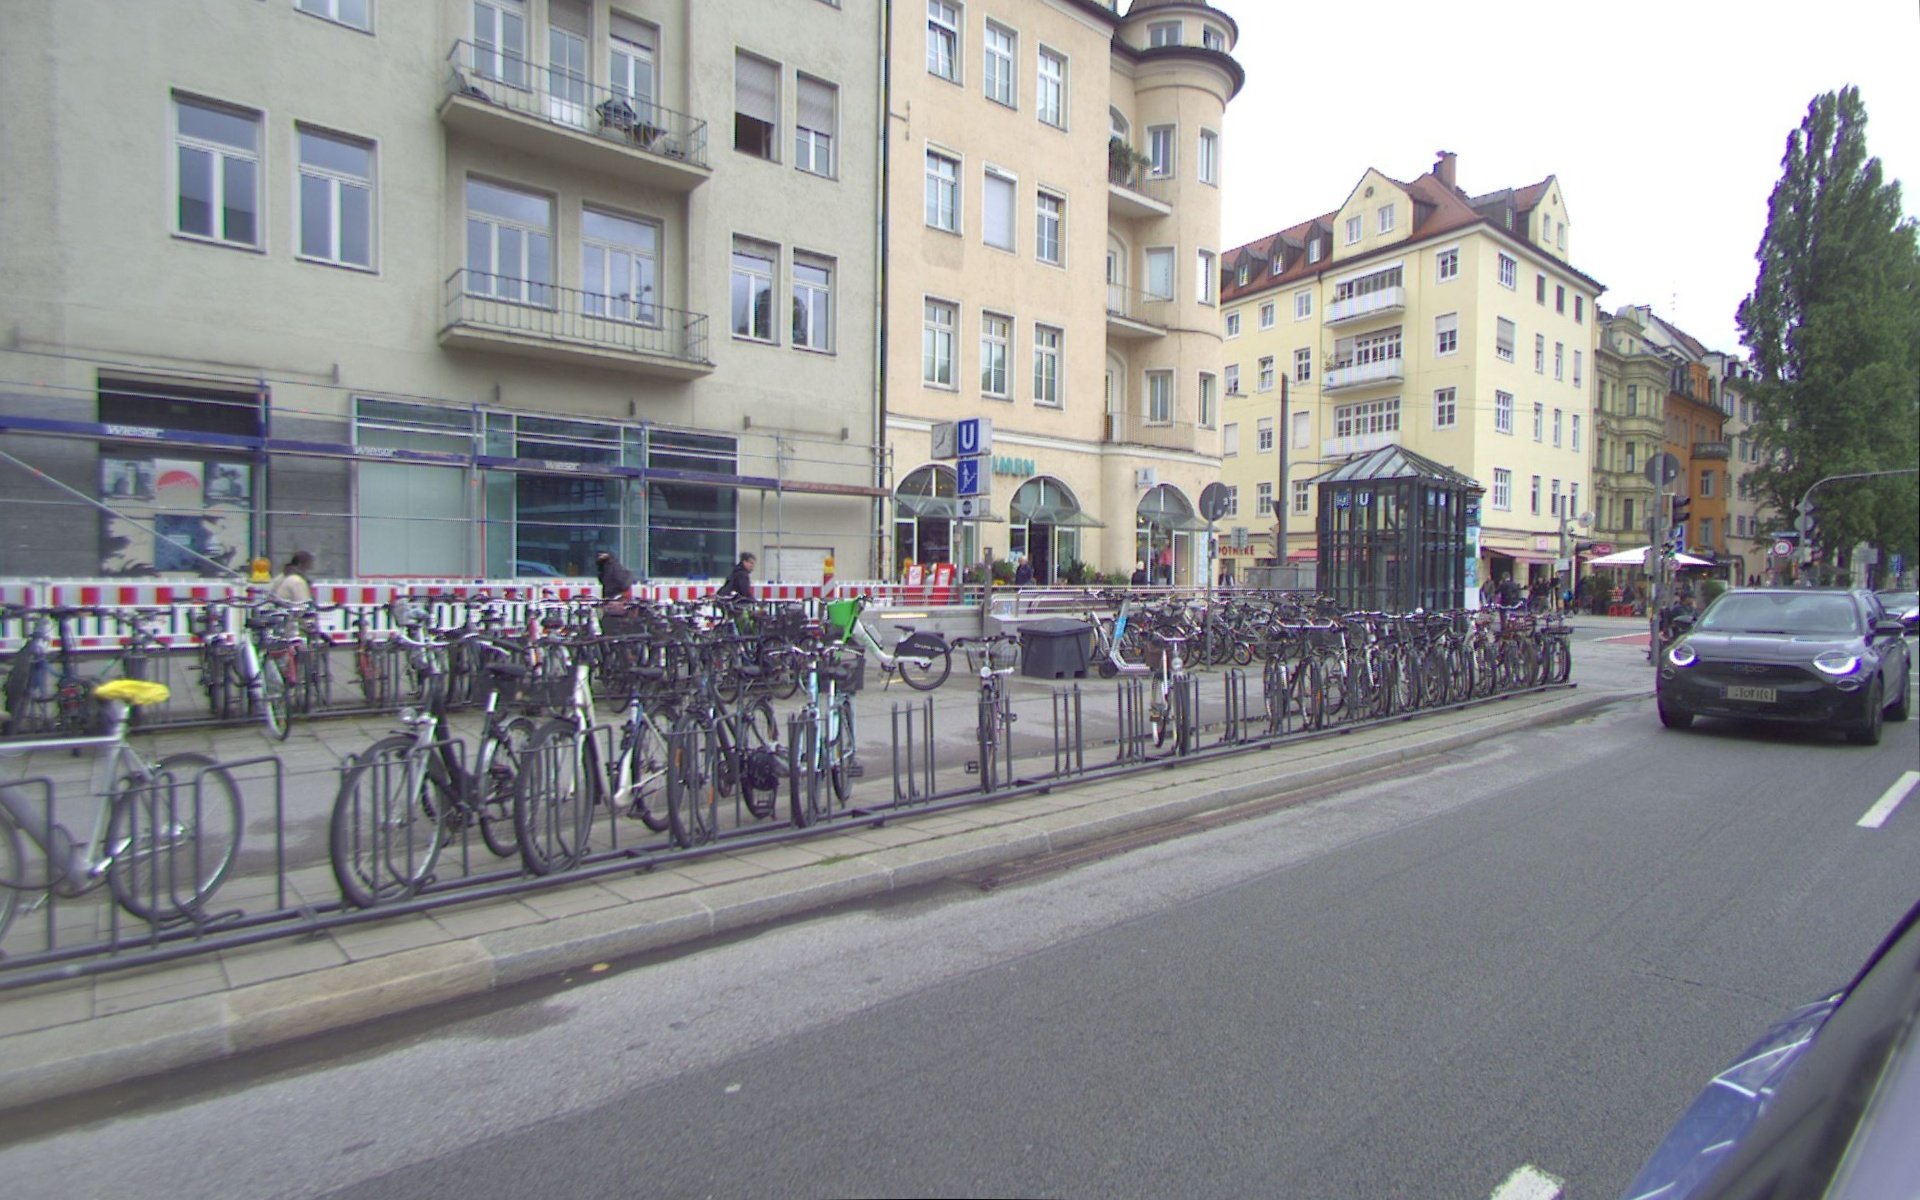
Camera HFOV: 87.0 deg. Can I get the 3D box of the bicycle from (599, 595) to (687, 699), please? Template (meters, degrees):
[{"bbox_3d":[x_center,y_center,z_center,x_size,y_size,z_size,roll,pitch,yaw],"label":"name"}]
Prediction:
[{"bbox_3d":[-3.764,0.518,11.949,0.403,1.091,1.529,-1,3,-41],"label":"bicycle"}]

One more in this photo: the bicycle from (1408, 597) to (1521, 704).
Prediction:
[{"bbox_3d":[5.909,0.557,11.952,0.469,1.151,1.679,0,1,-1],"label":"bicycle"}]

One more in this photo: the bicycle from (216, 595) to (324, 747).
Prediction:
[{"bbox_3d":[-5.722,0.541,8.371,1.447,1.091,0.404,3,3,42],"label":"bicycle"}]

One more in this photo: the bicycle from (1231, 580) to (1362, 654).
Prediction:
[{"bbox_3d":[6.125,0.267,18.578,0.617,1.242,2.319,0,2,-37],"label":"bicycle"}]

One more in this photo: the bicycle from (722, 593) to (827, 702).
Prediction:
[{"bbox_3d":[-2.128,0.502,11.481,0.403,1.091,1.604,-1,3,-41],"label":"bicycle"}]

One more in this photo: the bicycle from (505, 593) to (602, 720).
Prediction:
[{"bbox_3d":[-4.008,0.511,9.931,0.403,1.091,1.527,-1,3,-41],"label":"bicycle"}]

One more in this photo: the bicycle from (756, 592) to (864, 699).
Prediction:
[{"bbox_3d":[-1.762,0.492,11.736,0.403,1.091,1.654,-1,3,-41],"label":"bicycle"}]

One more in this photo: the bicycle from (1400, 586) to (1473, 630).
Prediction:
[{"bbox_3d":[13.303,0.215,28.319,0.597,1.142,1.828,1,1,-27],"label":"bicycle"}]

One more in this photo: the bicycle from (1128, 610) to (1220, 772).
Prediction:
[{"bbox_3d":[1.722,0.678,8.345,0.481,1.151,1.794,0,1,4],"label":"bicycle"}]

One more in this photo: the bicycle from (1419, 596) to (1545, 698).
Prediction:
[{"bbox_3d":[6.423,0.539,12.555,0.469,1.151,1.787,0,1,-6],"label":"bicycle"}]

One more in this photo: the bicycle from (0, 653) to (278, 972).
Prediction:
[{"bbox_3d":[-3.363,0.729,3.834,0.379,1.024,1.801,0,-2,-2],"label":"bicycle"}]

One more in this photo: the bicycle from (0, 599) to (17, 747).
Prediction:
[{"bbox_3d":[-7.225,0.571,7.250,0.402,1.091,1.454,0,3,-32],"label":"bicycle"}]

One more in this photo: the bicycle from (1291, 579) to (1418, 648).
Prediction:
[{"bbox_3d":[7.677,0.224,19.807,0.617,1.242,2.319,0,2,-37],"label":"bicycle"}]

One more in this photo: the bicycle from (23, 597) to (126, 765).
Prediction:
[{"bbox_3d":[-6.704,0.561,7.644,1.447,1.091,0.404,3,3,42],"label":"bicycle"}]

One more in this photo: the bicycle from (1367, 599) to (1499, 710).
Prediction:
[{"bbox_3d":[5.330,0.572,11.507,0.468,1.151,1.681,0,1,-10],"label":"bicycle"}]

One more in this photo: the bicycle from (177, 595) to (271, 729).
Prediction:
[{"bbox_3d":[-6.814,0.529,9.351,1.447,1.091,0.404,3,3,42],"label":"bicycle"}]

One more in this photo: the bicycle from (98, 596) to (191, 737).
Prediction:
[{"bbox_3d":[-7.198,0.542,8.918,1.447,1.091,0.404,3,3,42],"label":"bicycle"}]

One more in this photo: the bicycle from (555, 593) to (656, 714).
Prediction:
[{"bbox_3d":[-3.697,0.514,10.489,0.403,1.091,1.660,-1,3,-41],"label":"bicycle"}]

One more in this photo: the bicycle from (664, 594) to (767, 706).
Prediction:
[{"bbox_3d":[-2.741,0.514,11.246,0.403,1.091,1.624,-1,3,-41],"label":"bicycle"}]

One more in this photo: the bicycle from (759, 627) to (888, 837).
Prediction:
[{"bbox_3d":[-0.770,0.711,6.139,0.390,1.073,1.849,-1,-2,5],"label":"bicycle"}]

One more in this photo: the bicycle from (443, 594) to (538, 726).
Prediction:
[{"bbox_3d":[-4.458,0.524,9.567,0.403,1.091,1.538,-1,3,-41],"label":"bicycle"}]

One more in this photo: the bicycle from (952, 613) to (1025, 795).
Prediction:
[{"bbox_3d":[0.228,0.645,6.922,0.390,1.073,1.849,-1,-2,5],"label":"bicycle"}]

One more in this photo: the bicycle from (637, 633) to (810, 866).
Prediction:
[{"bbox_3d":[-1.240,0.725,5.631,0.390,1.073,1.849,-1,-2,5],"label":"bicycle"}]

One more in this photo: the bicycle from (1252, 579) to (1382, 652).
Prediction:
[{"bbox_3d":[6.634,0.254,18.940,0.617,1.242,2.319,0,2,-37],"label":"bicycle"}]

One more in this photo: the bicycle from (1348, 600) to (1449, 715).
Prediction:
[{"bbox_3d":[4.791,0.587,11.151,0.341,1.151,1.527,0,1,-4],"label":"bicycle"}]

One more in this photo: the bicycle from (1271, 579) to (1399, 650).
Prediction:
[{"bbox_3d":[7.130,0.240,19.362,0.617,1.242,2.319,0,2,-37],"label":"bicycle"}]

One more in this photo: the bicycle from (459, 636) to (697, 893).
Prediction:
[{"bbox_3d":[-1.854,0.726,5.201,0.390,1.073,1.849,-1,-2,5],"label":"bicycle"}]

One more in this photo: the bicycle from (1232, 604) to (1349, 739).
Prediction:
[{"bbox_3d":[3.150,0.633,9.812,0.480,1.151,1.796,0,1,-2],"label":"bicycle"}]

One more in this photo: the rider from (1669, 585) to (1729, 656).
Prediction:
[{"bbox_3d":[13.929,0.362,19.073,0.721,1.256,0.731,-1,4,-43],"label":"rider"}]

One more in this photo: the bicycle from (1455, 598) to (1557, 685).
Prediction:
[{"bbox_3d":[7.266,0.549,13.565,0.390,1.073,1.850,-1,-2,2],"label":"bicycle"}]

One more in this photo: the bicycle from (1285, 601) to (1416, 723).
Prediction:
[{"bbox_3d":[4.094,0.603,10.764,0.578,1.151,1.797,0,1,-4],"label":"bicycle"}]

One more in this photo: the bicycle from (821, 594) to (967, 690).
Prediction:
[{"bbox_3d":[-0.790,0.500,12.245,1.728,1.091,0.410,1,2,0],"label":"bicycle"}]

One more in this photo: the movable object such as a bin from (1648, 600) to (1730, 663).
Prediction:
[{"bbox_3d":[13.791,0.570,19.155,0.735,1.075,1.088,-2,4,-43],"label":"movable object such as a bin"}]

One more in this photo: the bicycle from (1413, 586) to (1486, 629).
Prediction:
[{"bbox_3d":[13.845,0.202,28.664,0.597,1.142,1.828,1,1,-27],"label":"bicycle"}]

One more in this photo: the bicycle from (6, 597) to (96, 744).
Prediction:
[{"bbox_3d":[-7.764,0.555,8.628,1.447,1.091,0.404,3,3,42],"label":"bicycle"}]

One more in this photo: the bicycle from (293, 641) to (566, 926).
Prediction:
[{"bbox_3d":[-2.381,0.736,4.781,0.390,1.073,1.801,0,-2,-2],"label":"bicycle"}]

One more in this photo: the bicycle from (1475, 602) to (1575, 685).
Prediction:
[{"bbox_3d":[7.846,0.596,14.131,0.390,1.073,1.850,-1,-2,2],"label":"bicycle"}]

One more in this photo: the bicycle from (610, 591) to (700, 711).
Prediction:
[{"bbox_3d":[-3.209,0.488,10.566,0.402,1.091,1.640,0,3,-35],"label":"bicycle"}]

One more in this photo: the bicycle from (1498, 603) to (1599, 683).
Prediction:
[{"bbox_3d":[8.406,0.613,14.542,0.390,1.073,1.850,-1,-2,2],"label":"bicycle"}]
